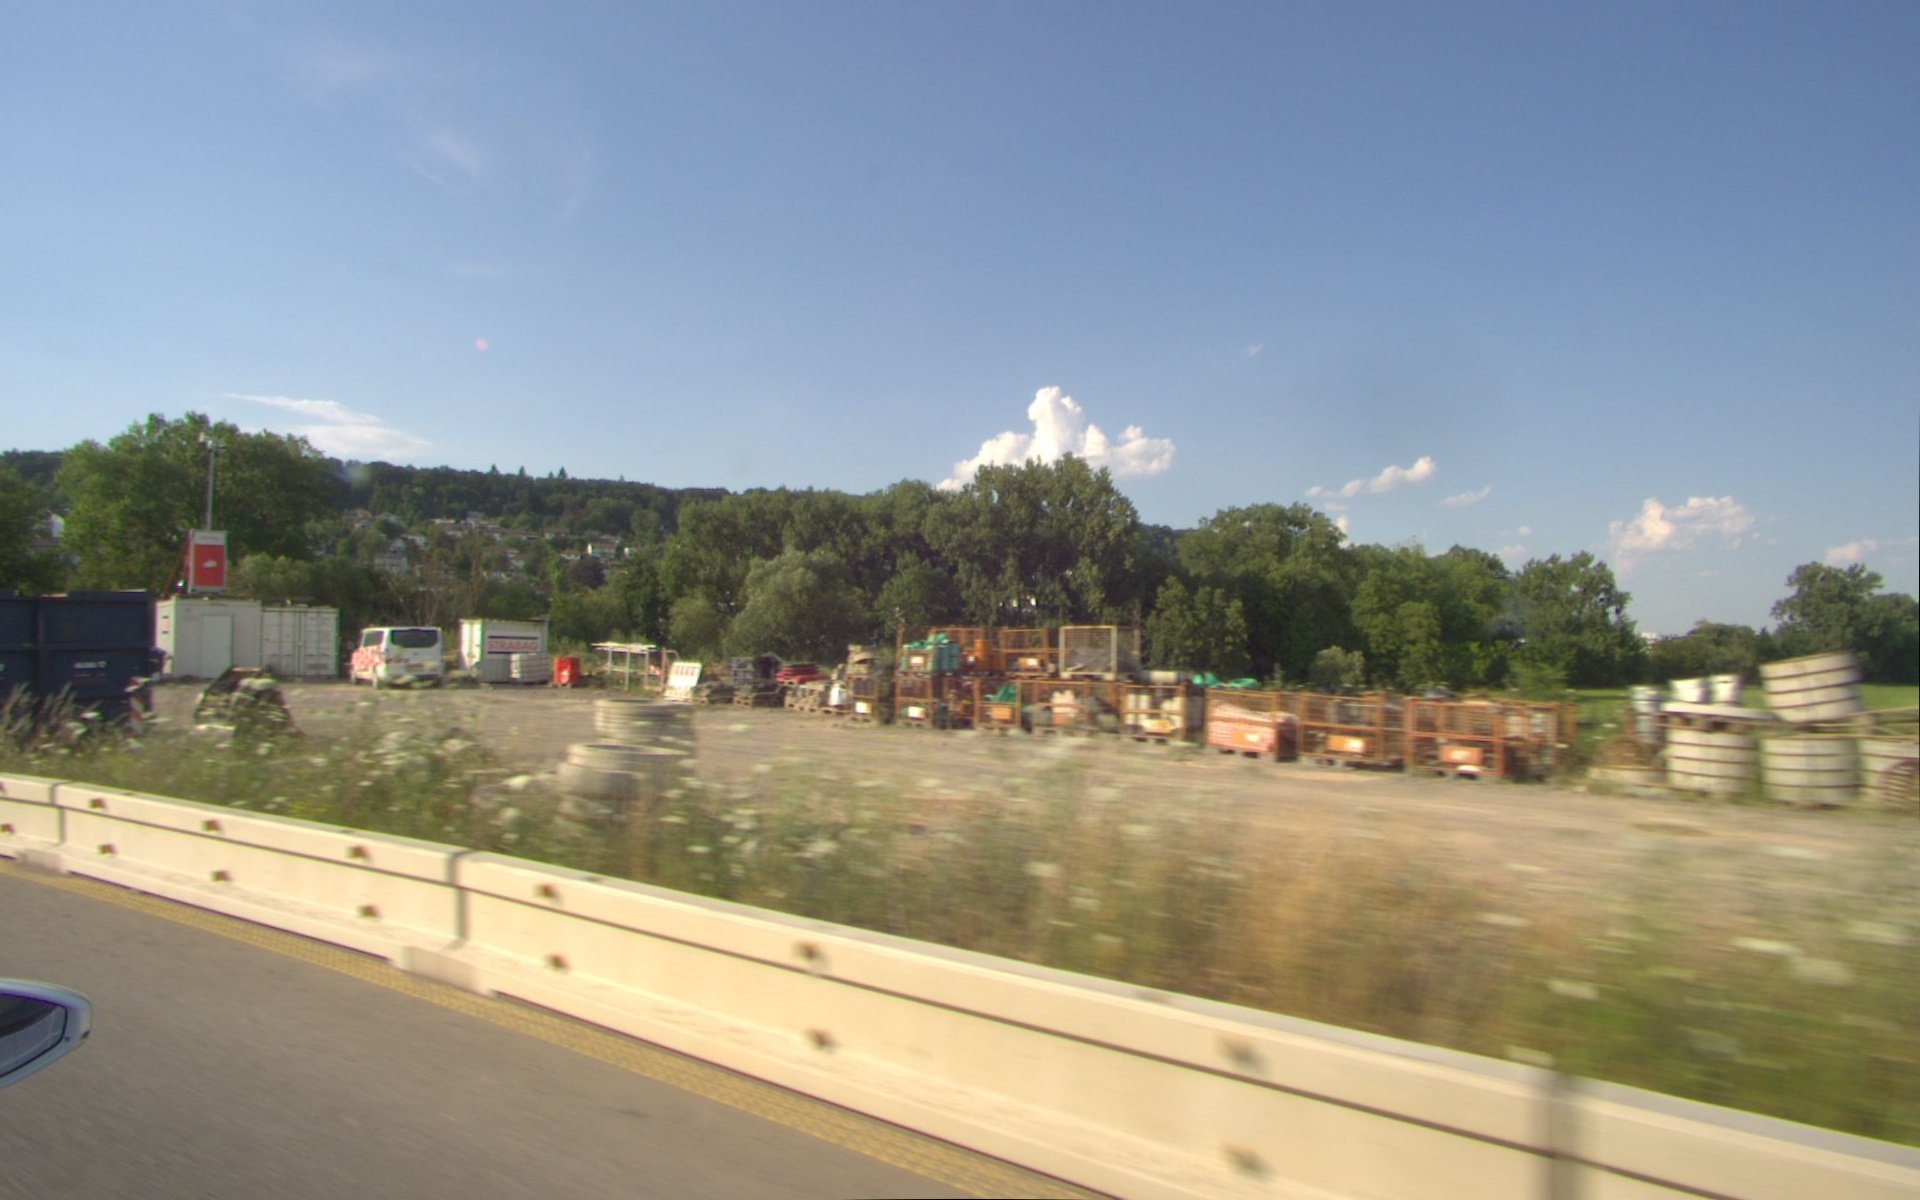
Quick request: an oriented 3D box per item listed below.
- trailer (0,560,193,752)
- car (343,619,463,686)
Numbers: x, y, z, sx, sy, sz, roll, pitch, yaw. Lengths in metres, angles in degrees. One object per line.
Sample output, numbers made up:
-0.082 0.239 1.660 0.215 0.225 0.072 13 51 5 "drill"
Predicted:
-15.149 0.816 15.002 7.115 2.444 3.004 -1 -3 27 "trailer"
-19.115 1.744 34.249 2.462 2.105 5.272 1 -3 -42 "car"
